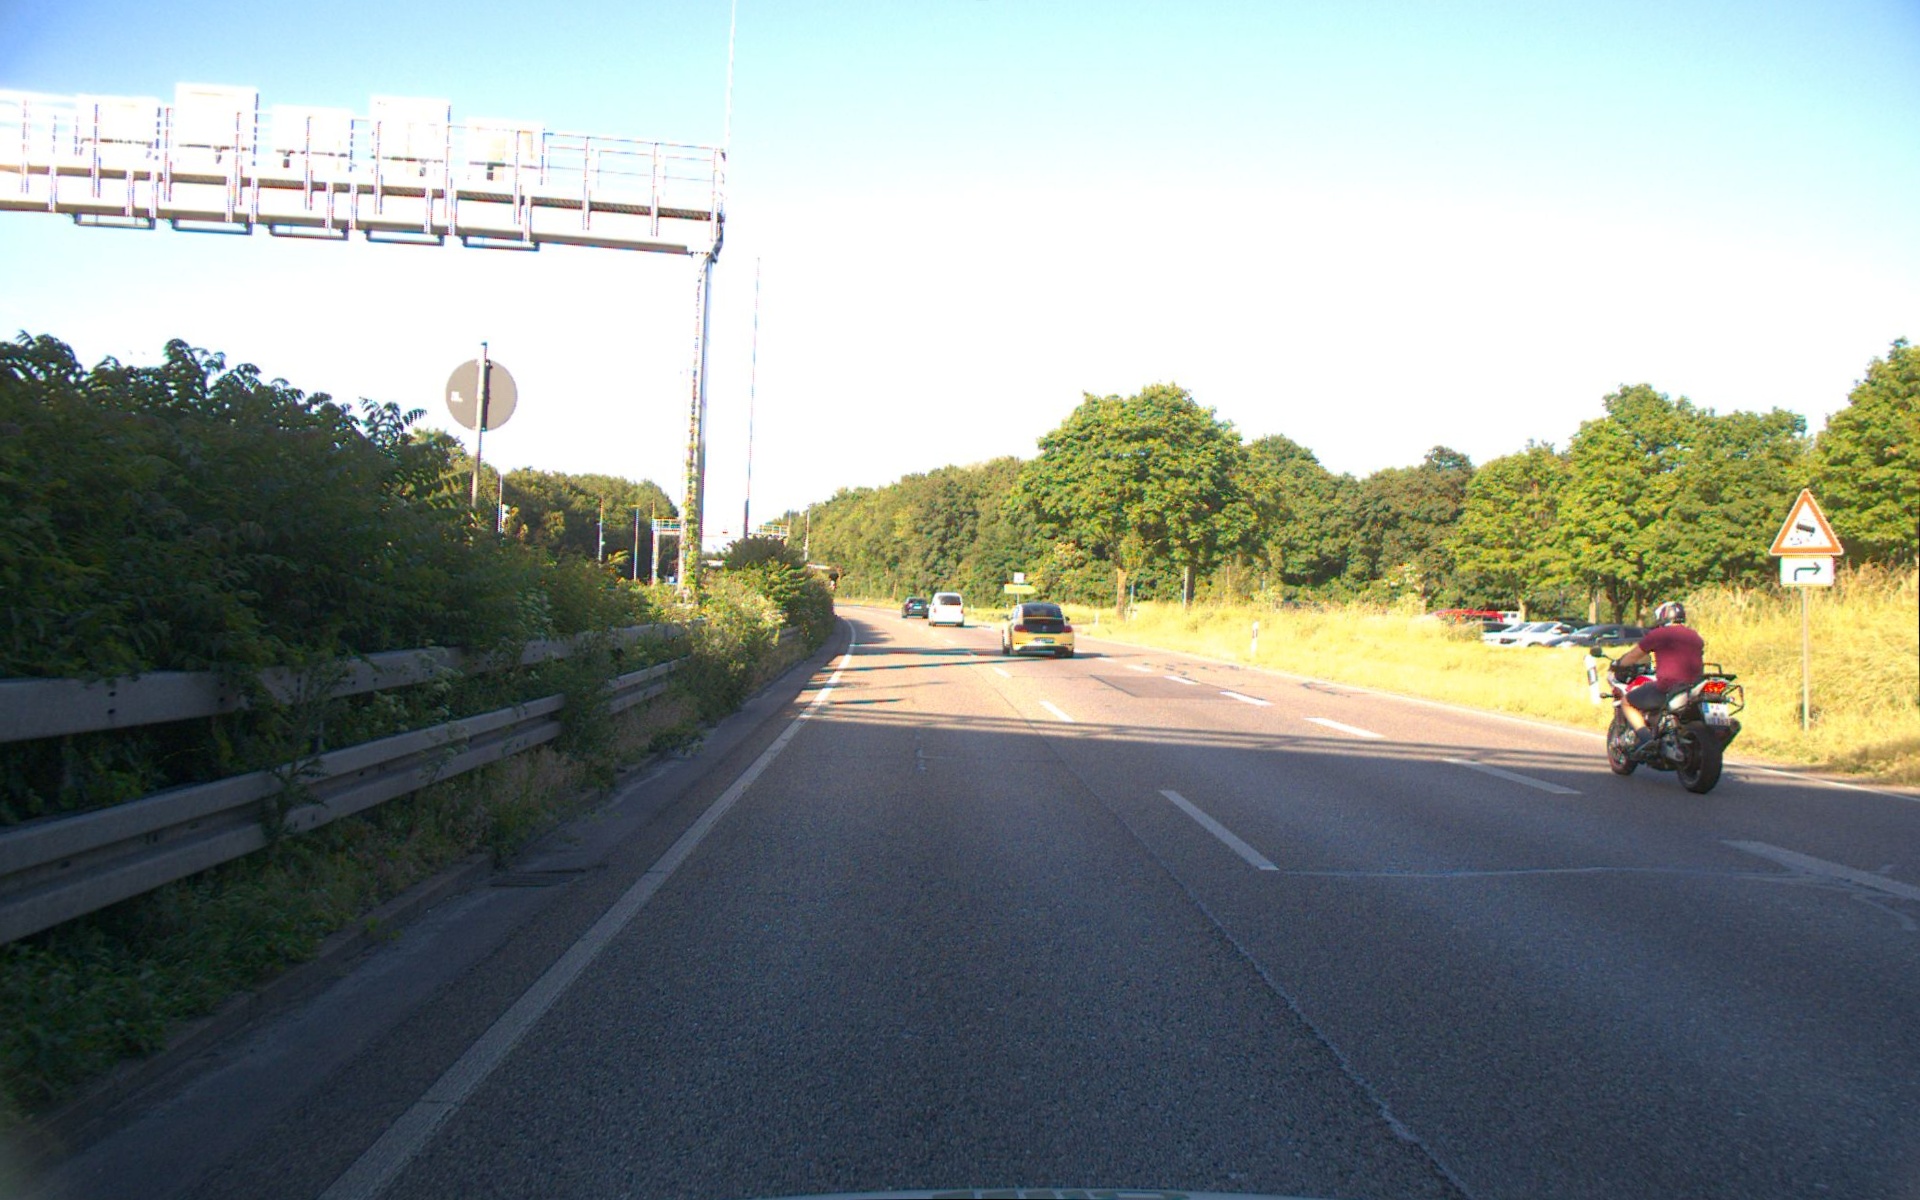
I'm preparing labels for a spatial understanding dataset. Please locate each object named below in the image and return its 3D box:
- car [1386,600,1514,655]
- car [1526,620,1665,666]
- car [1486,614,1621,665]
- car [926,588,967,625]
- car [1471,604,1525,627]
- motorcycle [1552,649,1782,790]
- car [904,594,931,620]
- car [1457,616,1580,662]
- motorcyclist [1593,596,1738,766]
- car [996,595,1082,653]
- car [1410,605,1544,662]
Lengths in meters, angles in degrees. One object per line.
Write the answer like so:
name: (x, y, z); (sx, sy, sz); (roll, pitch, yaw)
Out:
car: (20.429, 1.159, 69.019); (4.698, 2.059, 2.023); (2, -3, -7)
car: (21.215, 1.440, 55.272); (3.911, 1.330, 1.921); (2, -3, -7)
car: (20.852, 1.422, 58.159); (4.032, 1.586, 1.921); (2, -3, -7)
car: (-0.744, 0.376, 89.514); (1.860, 1.798, 3.995); (2, -2, -5)
car: (44.727, 1.274, 137.579); (3.920, 1.856, 1.896); (1, 0, 36)
motorcycle: (6.432, 1.041, 15.265); (0.800, 1.088, 2.834); (2, 0, -2)
car: (-3.041, 0.525, 118.901); (1.859, 1.798, 3.999); (1, 0, -2)
car: (20.524, 1.467, 60.872); (3.857, 1.485, 1.921); (2, -3, -7)
motorcyclist: (6.444, 0.718, 15.160); (0.800, 1.472, 1.093); (2, -1, -2)
car: (2.192, 0.646, 46.723); (1.860, 1.496, 3.995); (1, 0, -6)
car: (20.679, 1.366, 66.235); (4.698, 2.059, 2.023); (2, -3, -7)
